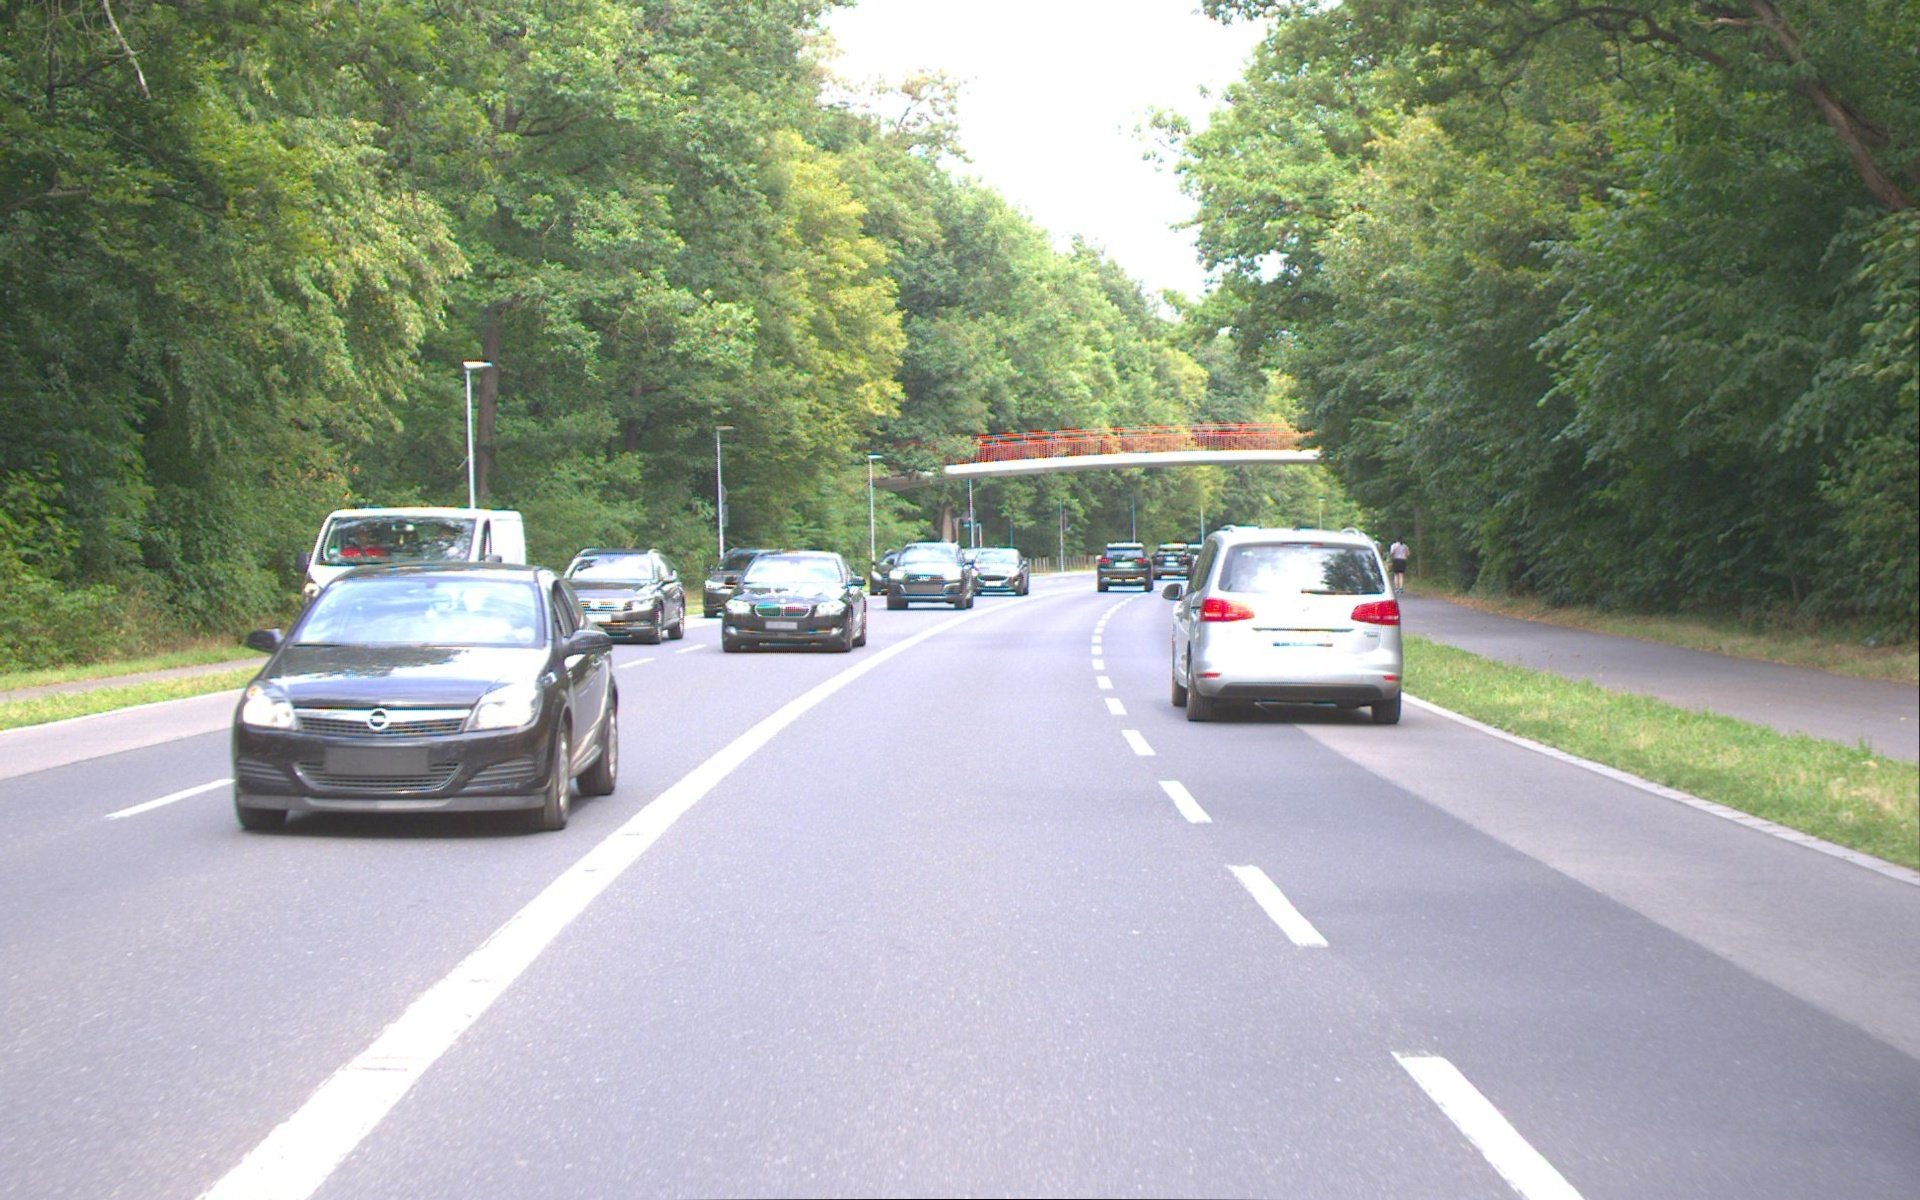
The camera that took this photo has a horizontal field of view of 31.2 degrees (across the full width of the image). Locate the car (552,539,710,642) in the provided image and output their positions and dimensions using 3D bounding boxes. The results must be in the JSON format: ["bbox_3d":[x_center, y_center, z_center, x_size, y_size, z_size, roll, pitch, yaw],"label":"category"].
[{"bbox_3d":[-5.141,-0.145,54.292,1.885,1.552,4.518,0,0,2],"label":"car"}]

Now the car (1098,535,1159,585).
[{"bbox_3d":[5.681,-1.342,115.709,1.730,1.582,3.999,1,0,7],"label":"car"}]

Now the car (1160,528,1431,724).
[{"bbox_3d":[2.938,0.216,30.870,1.993,1.601,4.000,1,0,0],"label":"car"}]

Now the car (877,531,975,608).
[{"bbox_3d":[-0.792,-0.725,82.881,1.963,1.700,3.999,-3,0,4],"label":"car"}]

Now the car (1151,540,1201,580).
[{"bbox_3d":[9.806,-1.805,155.699,1.994,1.691,3.999,1,0,7],"label":"car"}]

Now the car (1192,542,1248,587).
[{"bbox_3d":[10.762,-1.459,142.219,1.994,1.744,3.999,1,0,8],"label":"car"}]

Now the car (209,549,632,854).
[{"bbox_3d":[-2.883,0.506,19.117,1.656,1.481,3.866,1,0,1],"label":"car"}]

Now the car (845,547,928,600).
[{"bbox_3d":[-2.238,-0.794,105.579,1.994,1.547,3.999,1,0,6],"label":"car"}]

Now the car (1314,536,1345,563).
[{"bbox_3d":[24.719,-3.412,230.074,1.994,1.700,3.999,-2,1,7],"label":"car"}]

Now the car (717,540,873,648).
[{"bbox_3d":[-2.379,-0.090,50.726,1.885,1.473,4.518,1,0,2],"label":"car"}]

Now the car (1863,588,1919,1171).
[{"bbox_3d":[3.183,0.700,6.850,1.635,1.415,4.000,1,0,-1],"label":"car"}]

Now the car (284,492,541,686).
[{"bbox_3d":[-6.048,-0.118,38.562,1.993,2.007,5.054,-1,0,1],"label":"car"}]

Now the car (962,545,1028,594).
[{"bbox_3d":[1.106,-0.942,106.174,1.698,1.381,3.826,-3,0,5],"label":"car"}]
